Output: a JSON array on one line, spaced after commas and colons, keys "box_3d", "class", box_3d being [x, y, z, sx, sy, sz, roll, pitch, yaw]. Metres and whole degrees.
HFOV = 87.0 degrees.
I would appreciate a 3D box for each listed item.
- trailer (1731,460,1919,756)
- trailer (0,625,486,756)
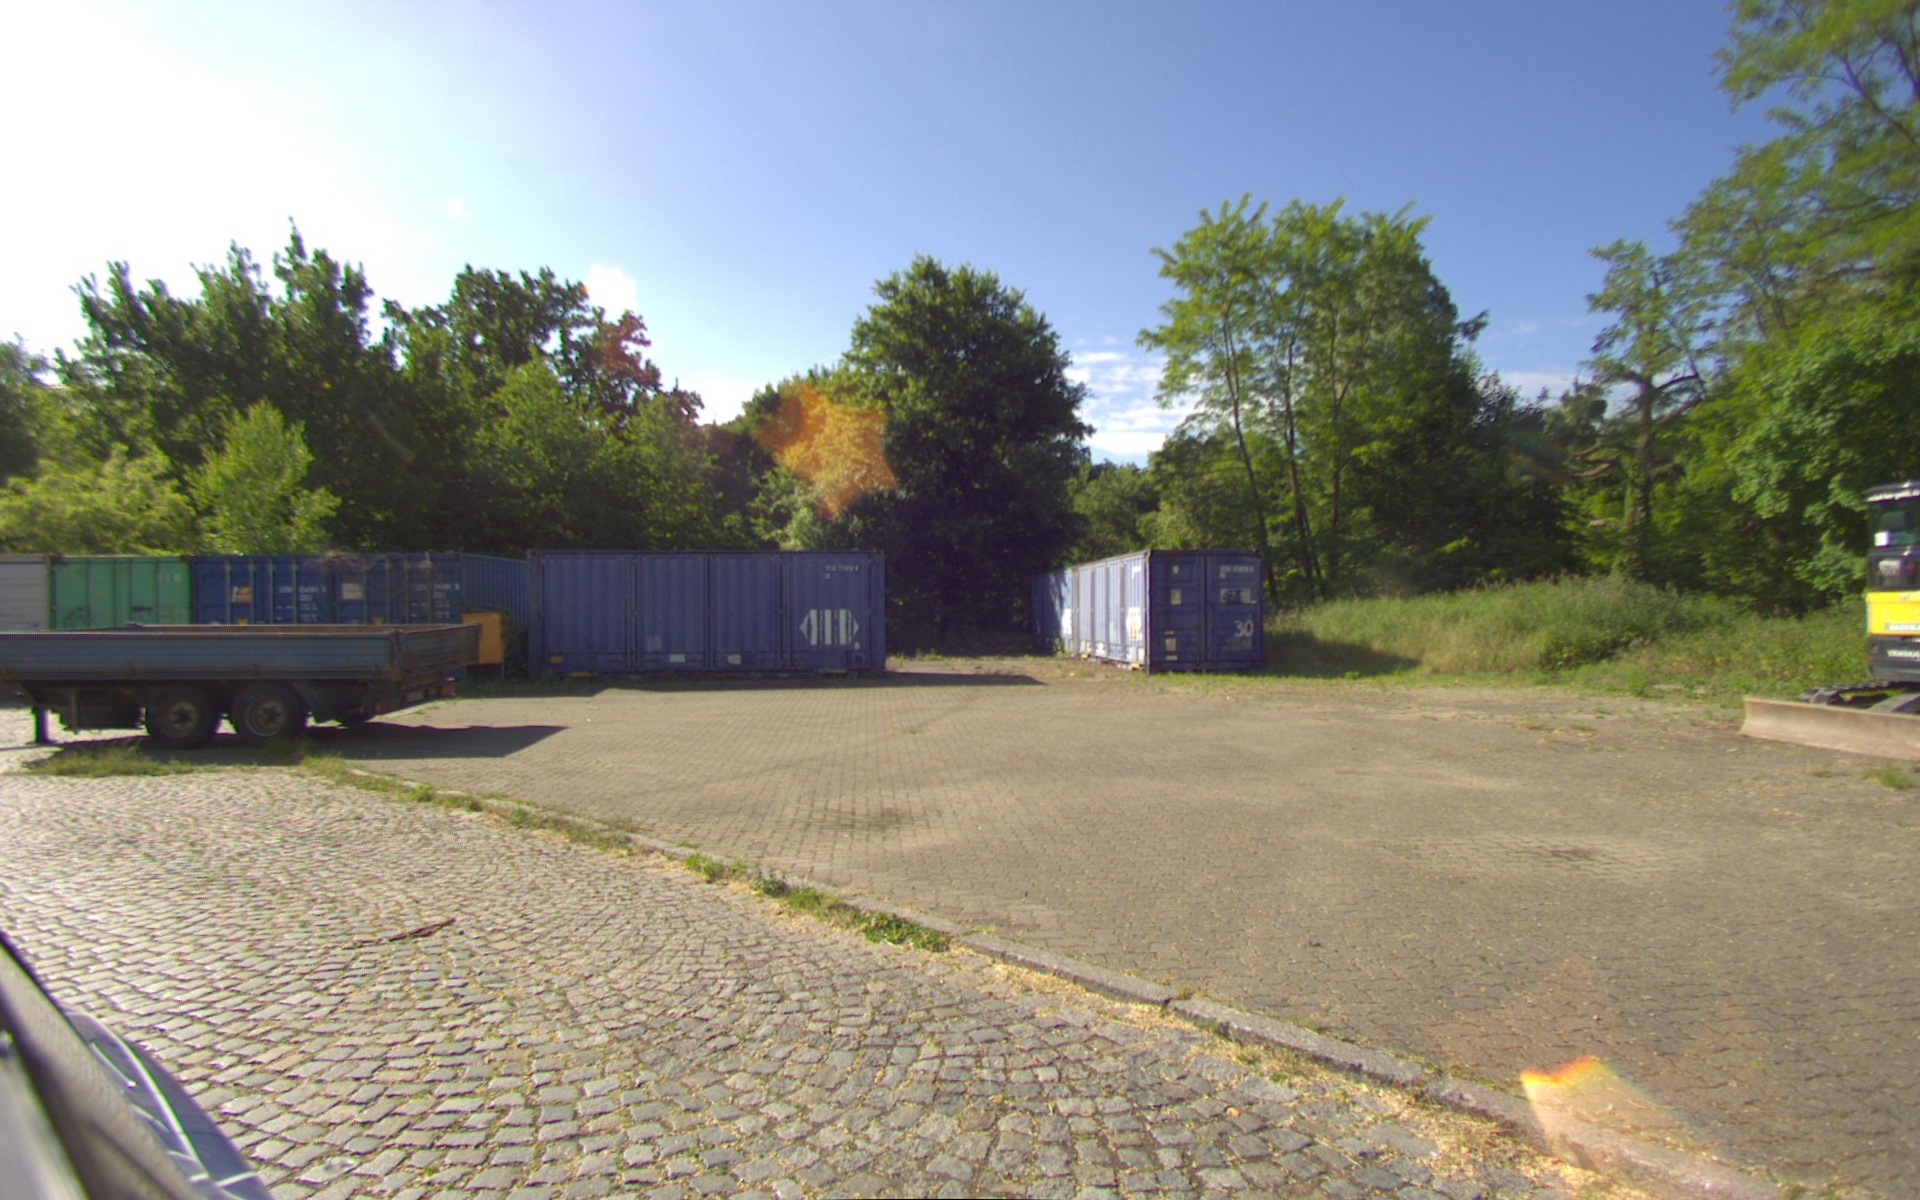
[{"box_3d": [9.614, -0.008, 9.511, 2.808, 2.557, 2.268, -4, 0, -4], "class": "trailer"}, {"box_3d": [-8.992, 1.051, 12.844, 4.787, 1.425, 2.652, 0, -1, -5], "class": "trailer"}]
